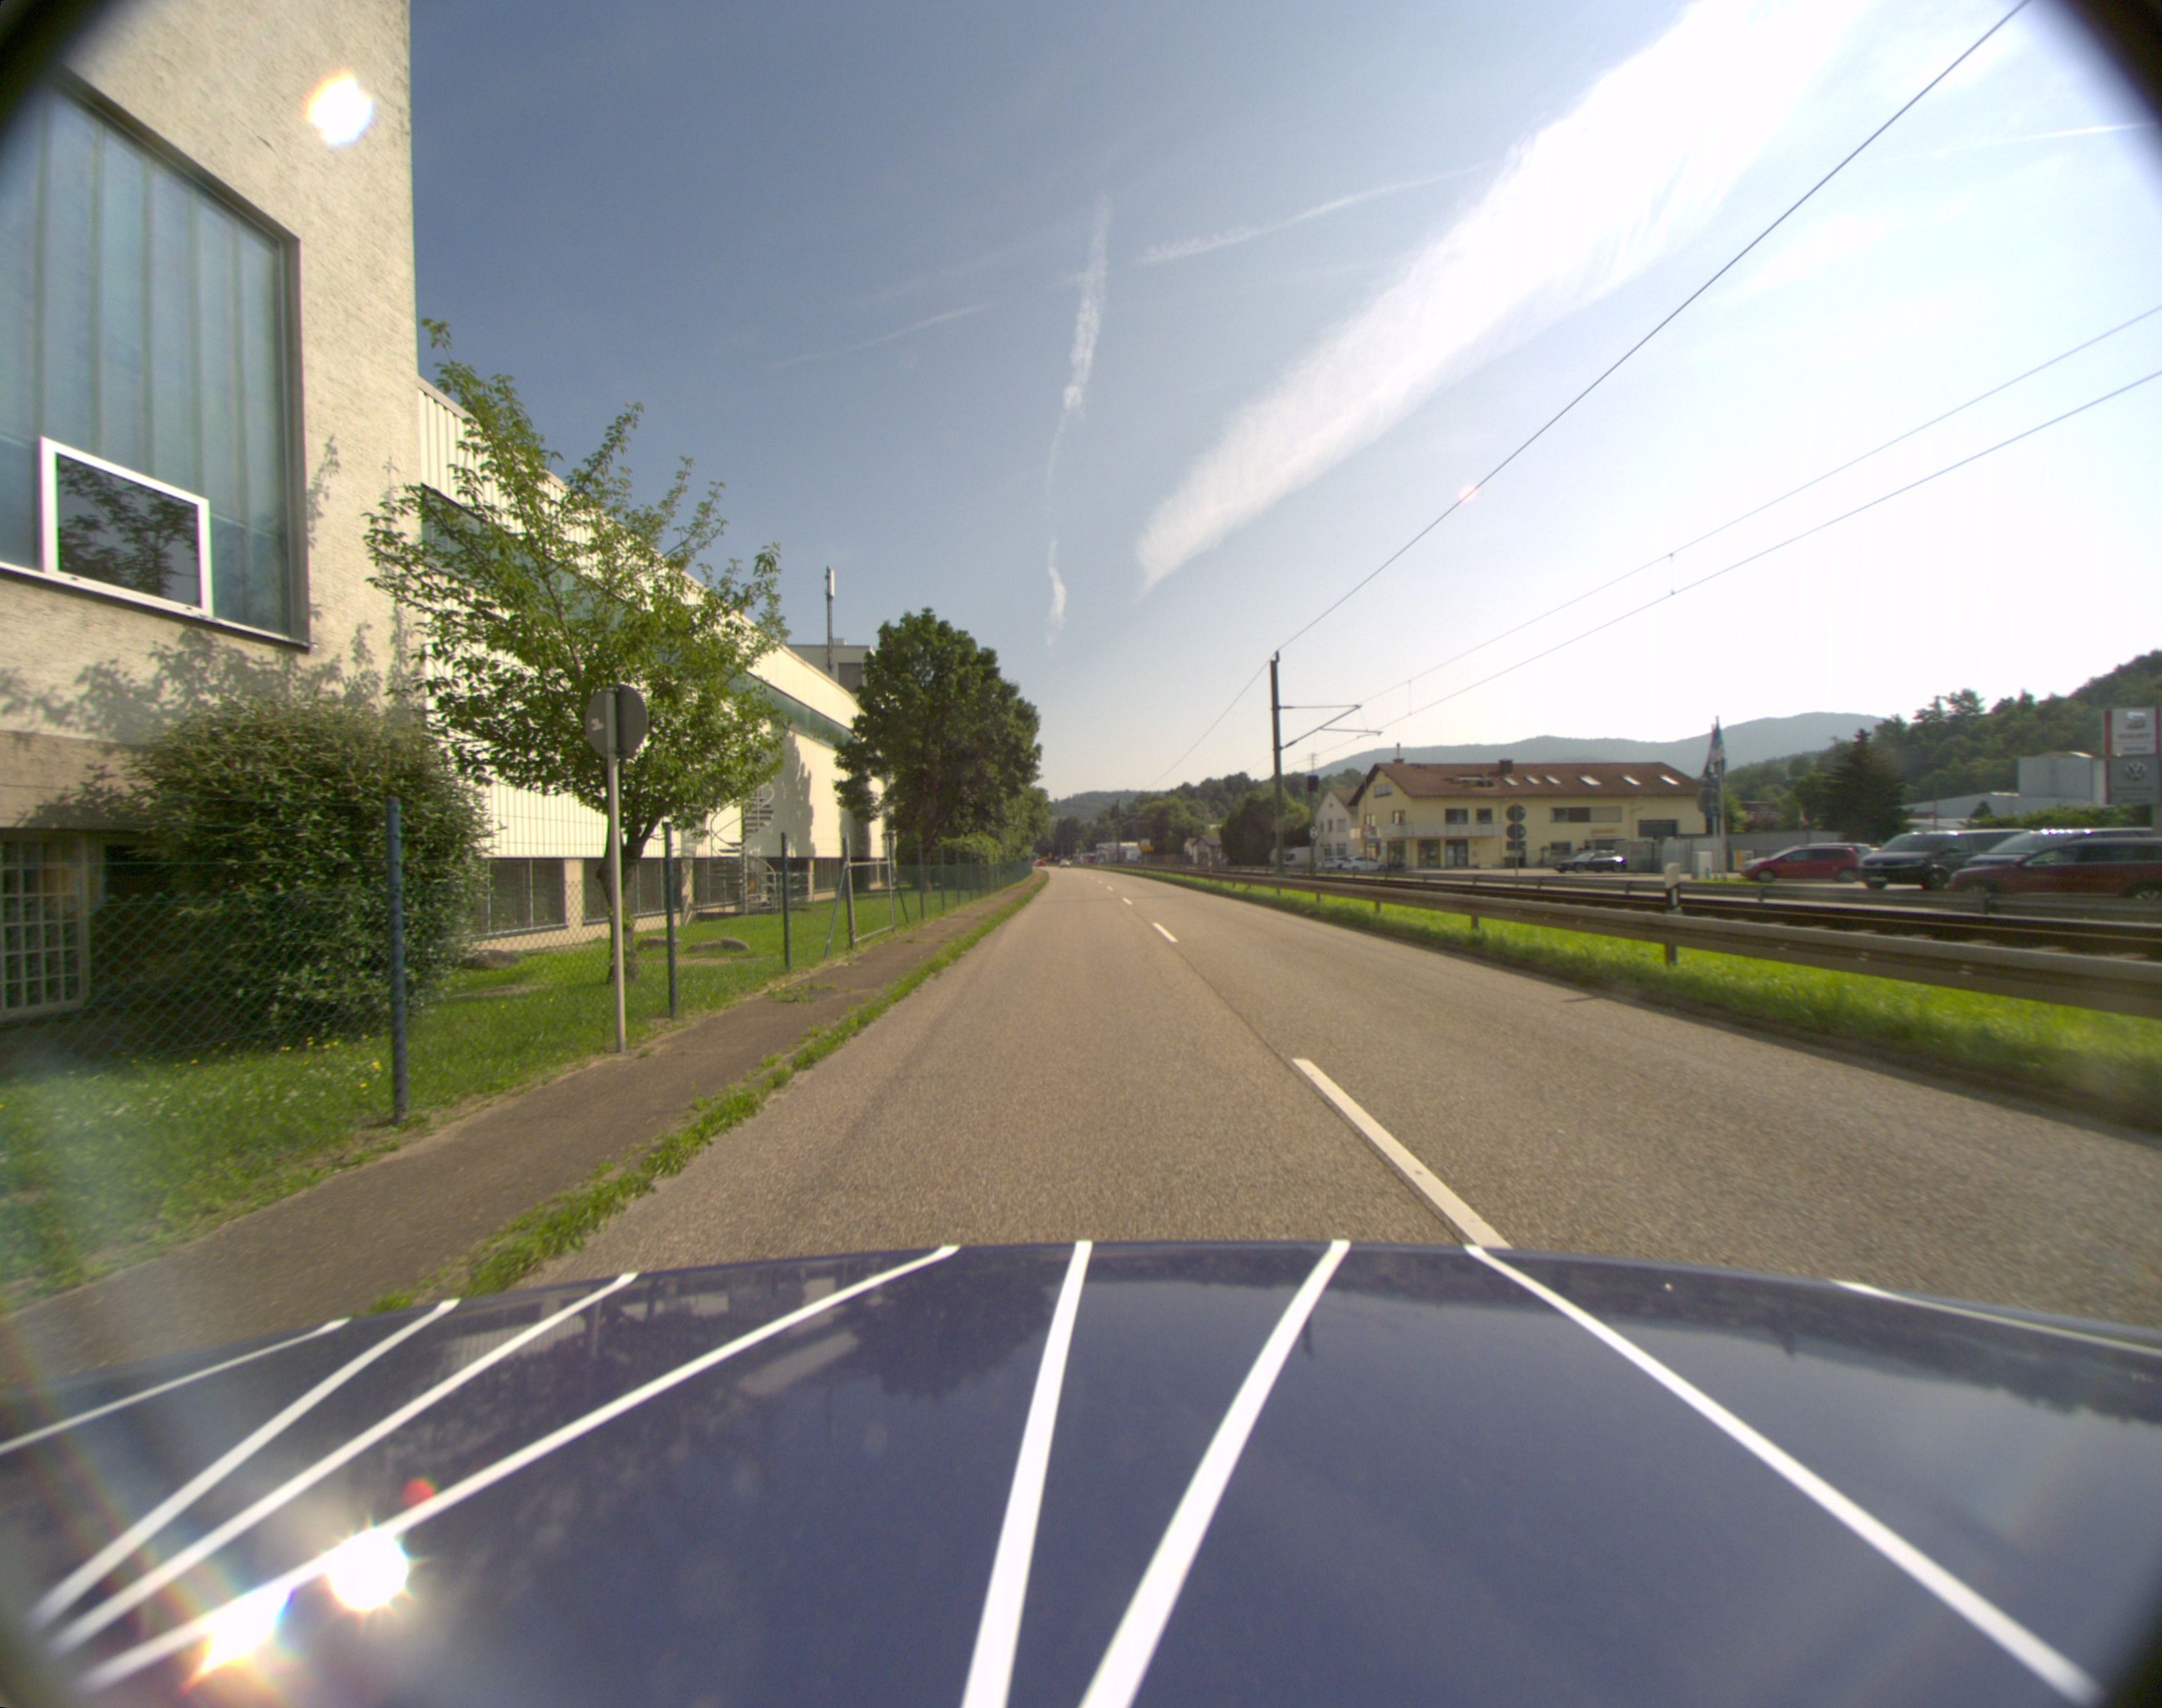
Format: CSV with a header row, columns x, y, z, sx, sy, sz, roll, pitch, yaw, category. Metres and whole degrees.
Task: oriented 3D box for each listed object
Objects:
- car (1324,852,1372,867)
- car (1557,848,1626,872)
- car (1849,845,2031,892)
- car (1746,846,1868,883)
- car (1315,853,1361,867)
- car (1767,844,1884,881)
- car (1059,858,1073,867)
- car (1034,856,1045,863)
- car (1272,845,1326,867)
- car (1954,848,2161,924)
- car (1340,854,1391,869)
x,y,z,sx,sy,sz,roll,pitch,yaw,category
24.926,0.538,70.890,3.857,1.292,1.648,-1,0,-4,car
34.324,0.405,51.184,3.539,1.566,1.651,-1,0,22,car
28.310,0.469,25.139,3.997,1.451,1.761,-1,0,1,car
30.388,0.423,31.931,3.537,1.451,1.652,-1,0,37,car
24.909,0.599,73.618,3.857,1.292,1.648,-1,0,-4,car
32.837,0.367,33.650,3.537,1.566,1.652,-1,0,37,car
-2.722,1.532,140.104,2.000,1.696,3.996,-1,0,-10,car
-10.045,1.336,182.191,2.000,1.696,3.996,-1,0,-11,car
25.003,0.183,87.286,5.586,2.402,2.236,-1,0,-2,car
21.434,0.613,15.783,1.860,1.451,3.998,-1,0,-5,car
25.503,0.659,68.170,3.857,1.292,1.648,-1,0,-4,car
